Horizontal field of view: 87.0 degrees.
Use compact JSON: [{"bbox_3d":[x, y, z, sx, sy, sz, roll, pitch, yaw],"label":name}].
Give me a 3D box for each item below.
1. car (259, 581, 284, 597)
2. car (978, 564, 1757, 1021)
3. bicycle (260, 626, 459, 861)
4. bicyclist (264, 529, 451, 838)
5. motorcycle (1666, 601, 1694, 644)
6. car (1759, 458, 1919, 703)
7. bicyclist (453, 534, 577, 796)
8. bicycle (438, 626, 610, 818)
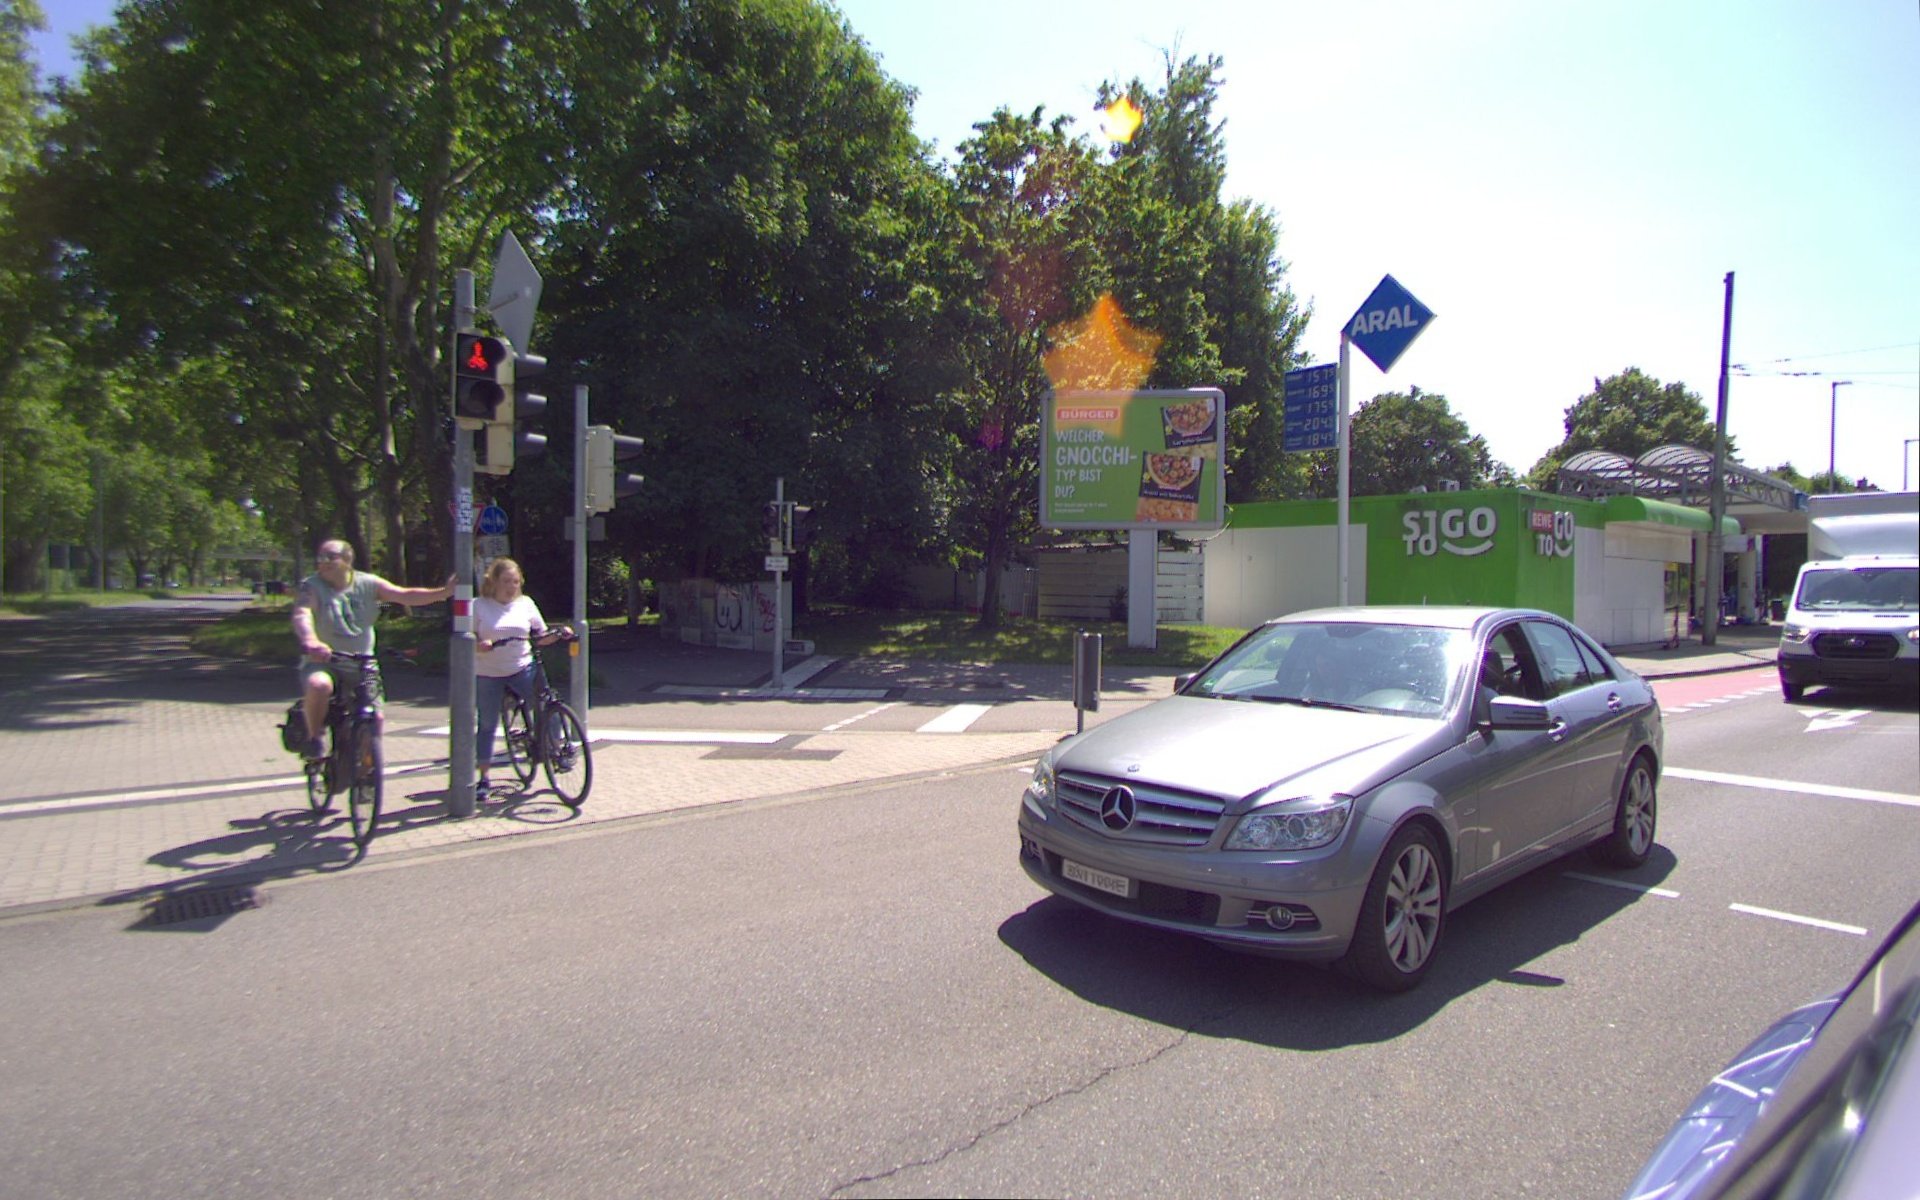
[{"bbox_3d":[-66.991,-1.033,98.517,1.673,1.464,3.388,-1,0,-29],"label":"car"},{"bbox_3d":[2.639,0.646,5.638,5.206,1.492,1.716,0,-1,-39],"label":"car"},{"bbox_3d":[-3.880,0.793,6.456,0.878,1.174,1.955,0,1,-37],"label":"bicycle"},{"bbox_3d":[-3.875,0.481,6.511,0.958,1.810,0.726,0,0,-37],"label":"bicyclist"},{"bbox_3d":[19.437,0.597,27.324,1.098,1.118,0.253,-1,7,-40],"label":"motorcycle"},{"bbox_3d":[16.078,-0.272,17.102,8.480,3.378,2.228,0,-1,-39],"label":"car"},{"bbox_3d":[-3.283,0.449,7.461,0.753,1.811,0.579,0,-1,-33],"label":"bicyclist"},{"bbox_3d":[-3.241,0.794,7.409,0.877,1.139,1.874,0,0,-32],"label":"bicycle"}]
